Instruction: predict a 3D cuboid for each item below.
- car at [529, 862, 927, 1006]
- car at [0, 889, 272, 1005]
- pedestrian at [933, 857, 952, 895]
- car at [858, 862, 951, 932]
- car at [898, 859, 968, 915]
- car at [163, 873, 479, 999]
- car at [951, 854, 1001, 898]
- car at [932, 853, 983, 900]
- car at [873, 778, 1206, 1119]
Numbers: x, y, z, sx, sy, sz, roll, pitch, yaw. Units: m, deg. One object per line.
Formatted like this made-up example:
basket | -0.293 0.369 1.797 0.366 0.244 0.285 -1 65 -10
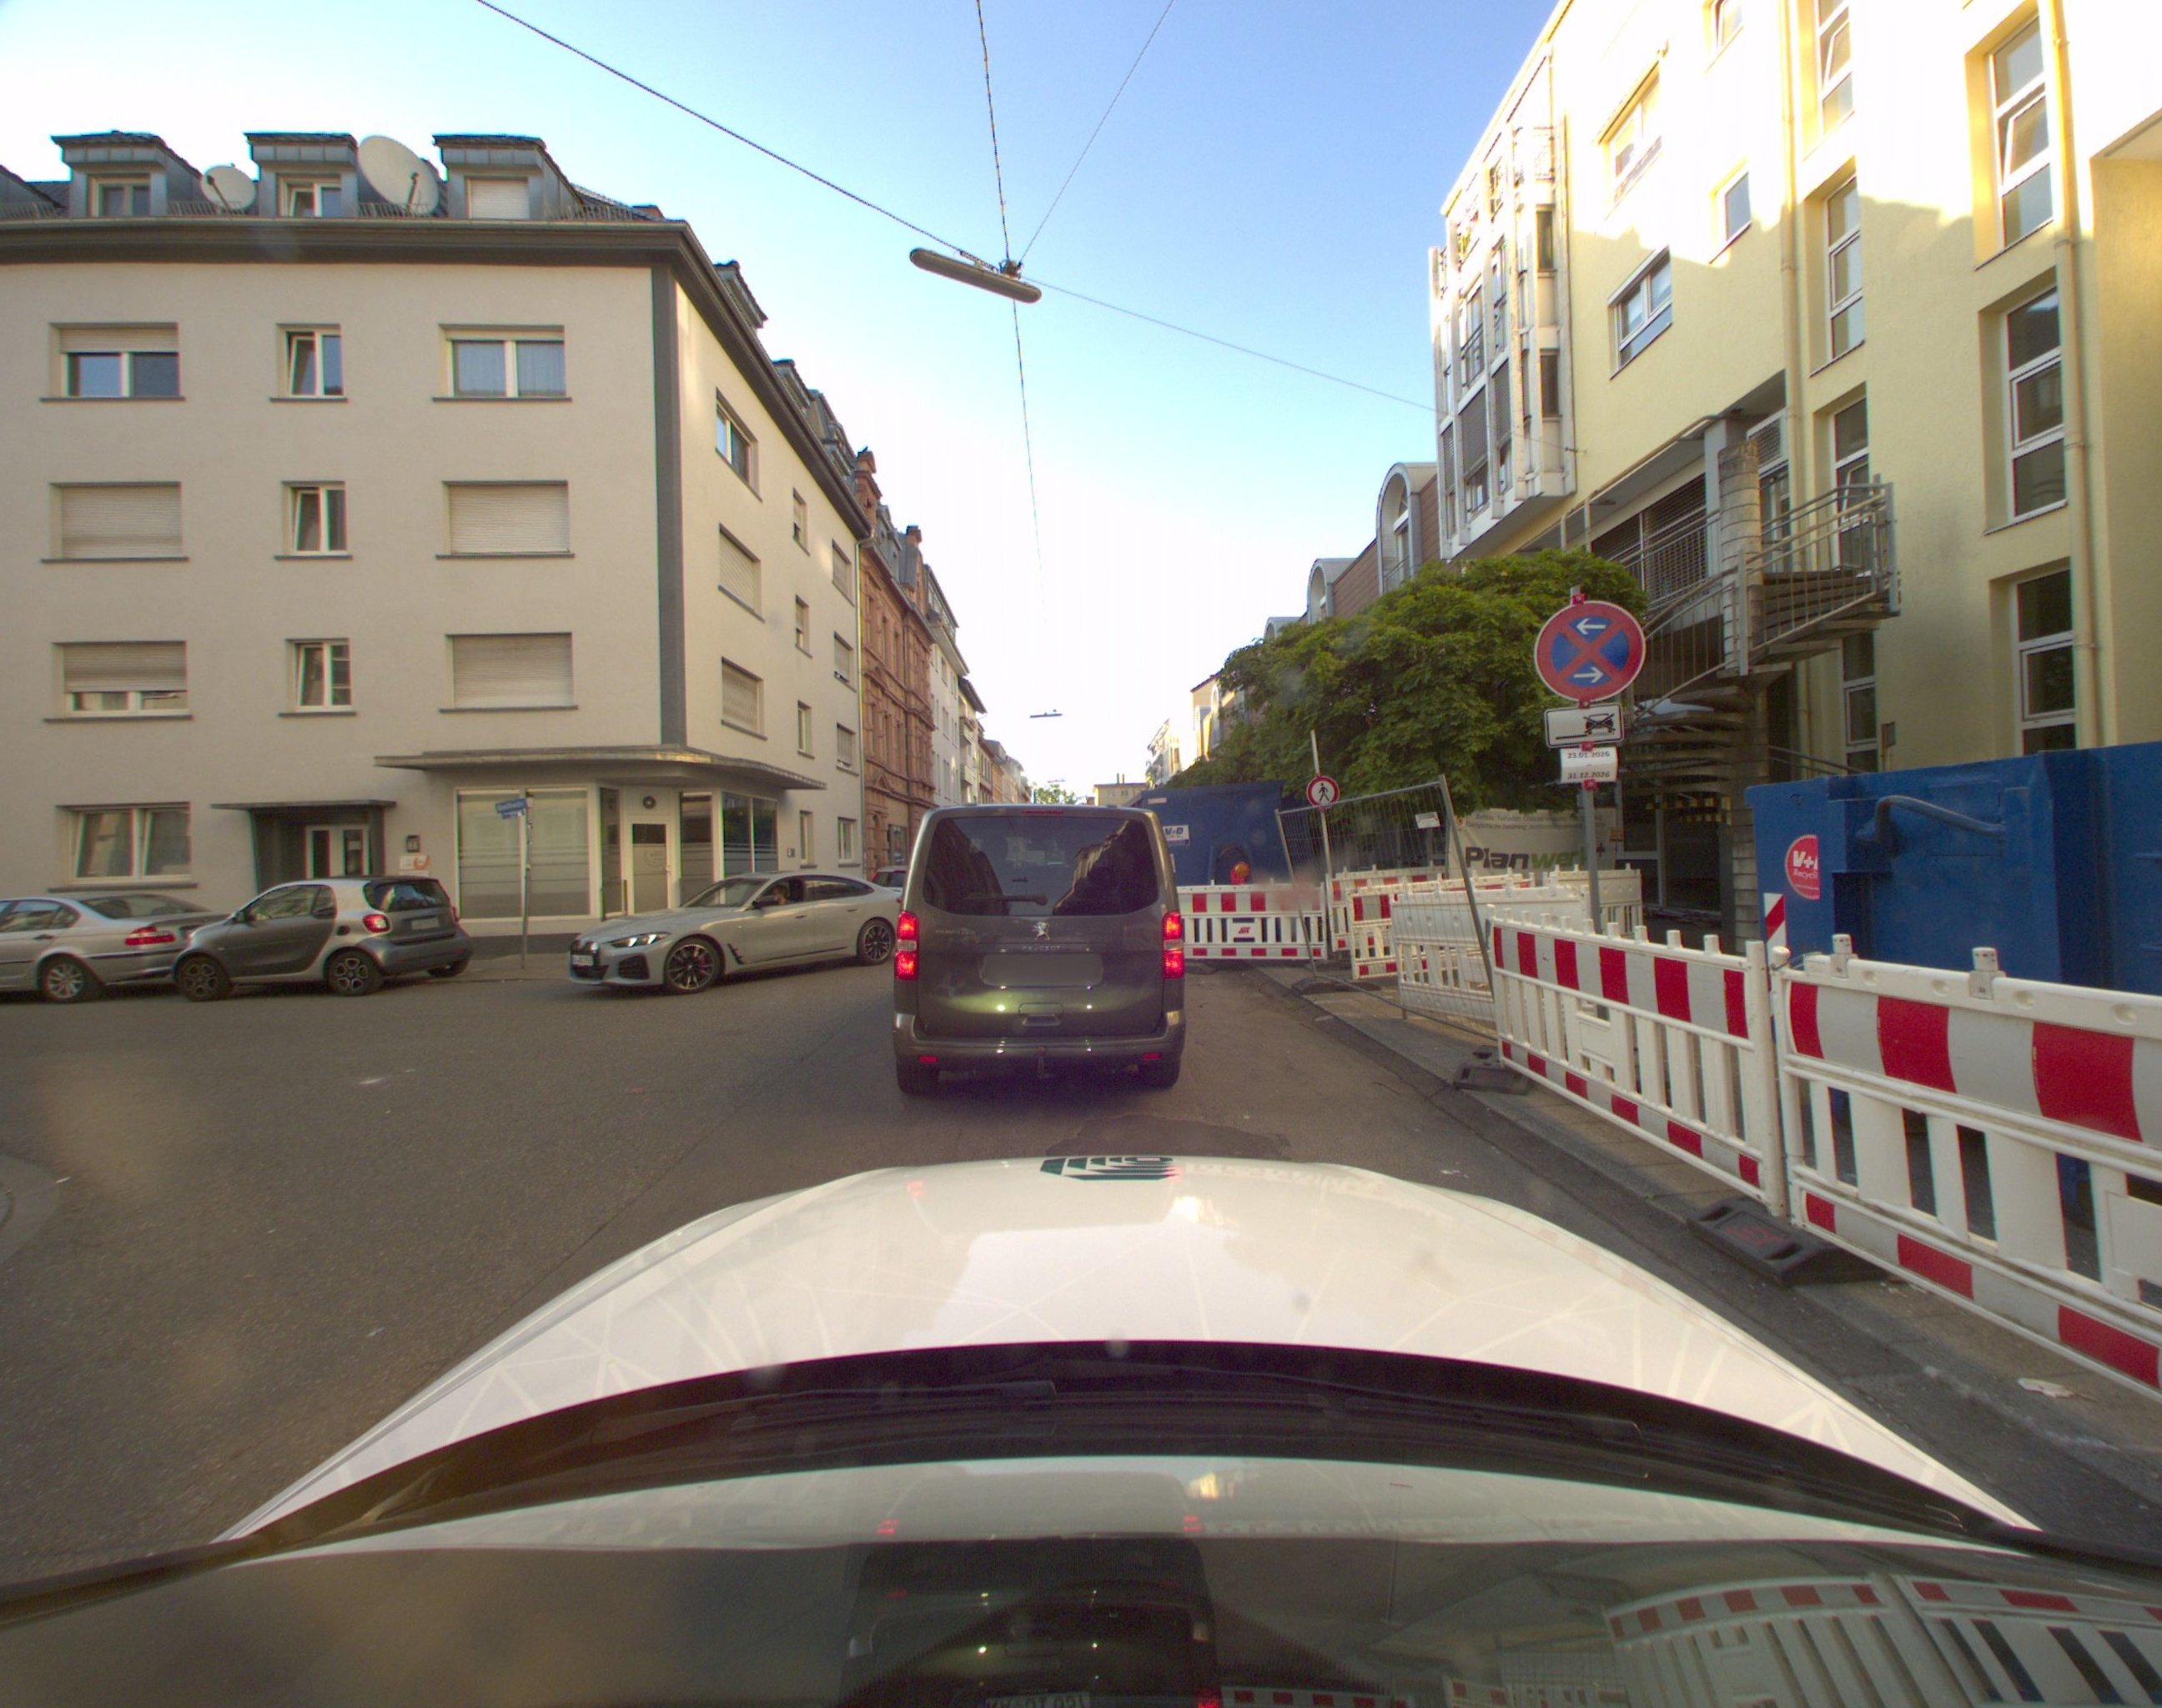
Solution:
car | -4.566 0.913 11.405 1.909 1.451 4.842 -2 0 32
car | -14.209 1.258 11.315 4.193 1.403 1.602 -1 0 -2
pedestrian | -6.225 0.960 36.578 0.739 1.664 0.702 -2 0 -5
car | -4.150 0.969 19.629 1.653 1.460 3.412 3 -1 -4
car | -4.449 0.972 24.949 1.653 1.525 3.412 3 -1 -4
car | -10.231 1.061 11.130 2.778 1.540 1.593 0 0 -1
car | -4.536 0.955 35.687 1.888 1.720 3.748 3 -1 -4
car | -4.795 0.873 32.048 1.663 1.666 3.087 3 -1 -4
car | -0.370 0.550 6.738 1.862 1.886 4.228 -1 -1 -4
